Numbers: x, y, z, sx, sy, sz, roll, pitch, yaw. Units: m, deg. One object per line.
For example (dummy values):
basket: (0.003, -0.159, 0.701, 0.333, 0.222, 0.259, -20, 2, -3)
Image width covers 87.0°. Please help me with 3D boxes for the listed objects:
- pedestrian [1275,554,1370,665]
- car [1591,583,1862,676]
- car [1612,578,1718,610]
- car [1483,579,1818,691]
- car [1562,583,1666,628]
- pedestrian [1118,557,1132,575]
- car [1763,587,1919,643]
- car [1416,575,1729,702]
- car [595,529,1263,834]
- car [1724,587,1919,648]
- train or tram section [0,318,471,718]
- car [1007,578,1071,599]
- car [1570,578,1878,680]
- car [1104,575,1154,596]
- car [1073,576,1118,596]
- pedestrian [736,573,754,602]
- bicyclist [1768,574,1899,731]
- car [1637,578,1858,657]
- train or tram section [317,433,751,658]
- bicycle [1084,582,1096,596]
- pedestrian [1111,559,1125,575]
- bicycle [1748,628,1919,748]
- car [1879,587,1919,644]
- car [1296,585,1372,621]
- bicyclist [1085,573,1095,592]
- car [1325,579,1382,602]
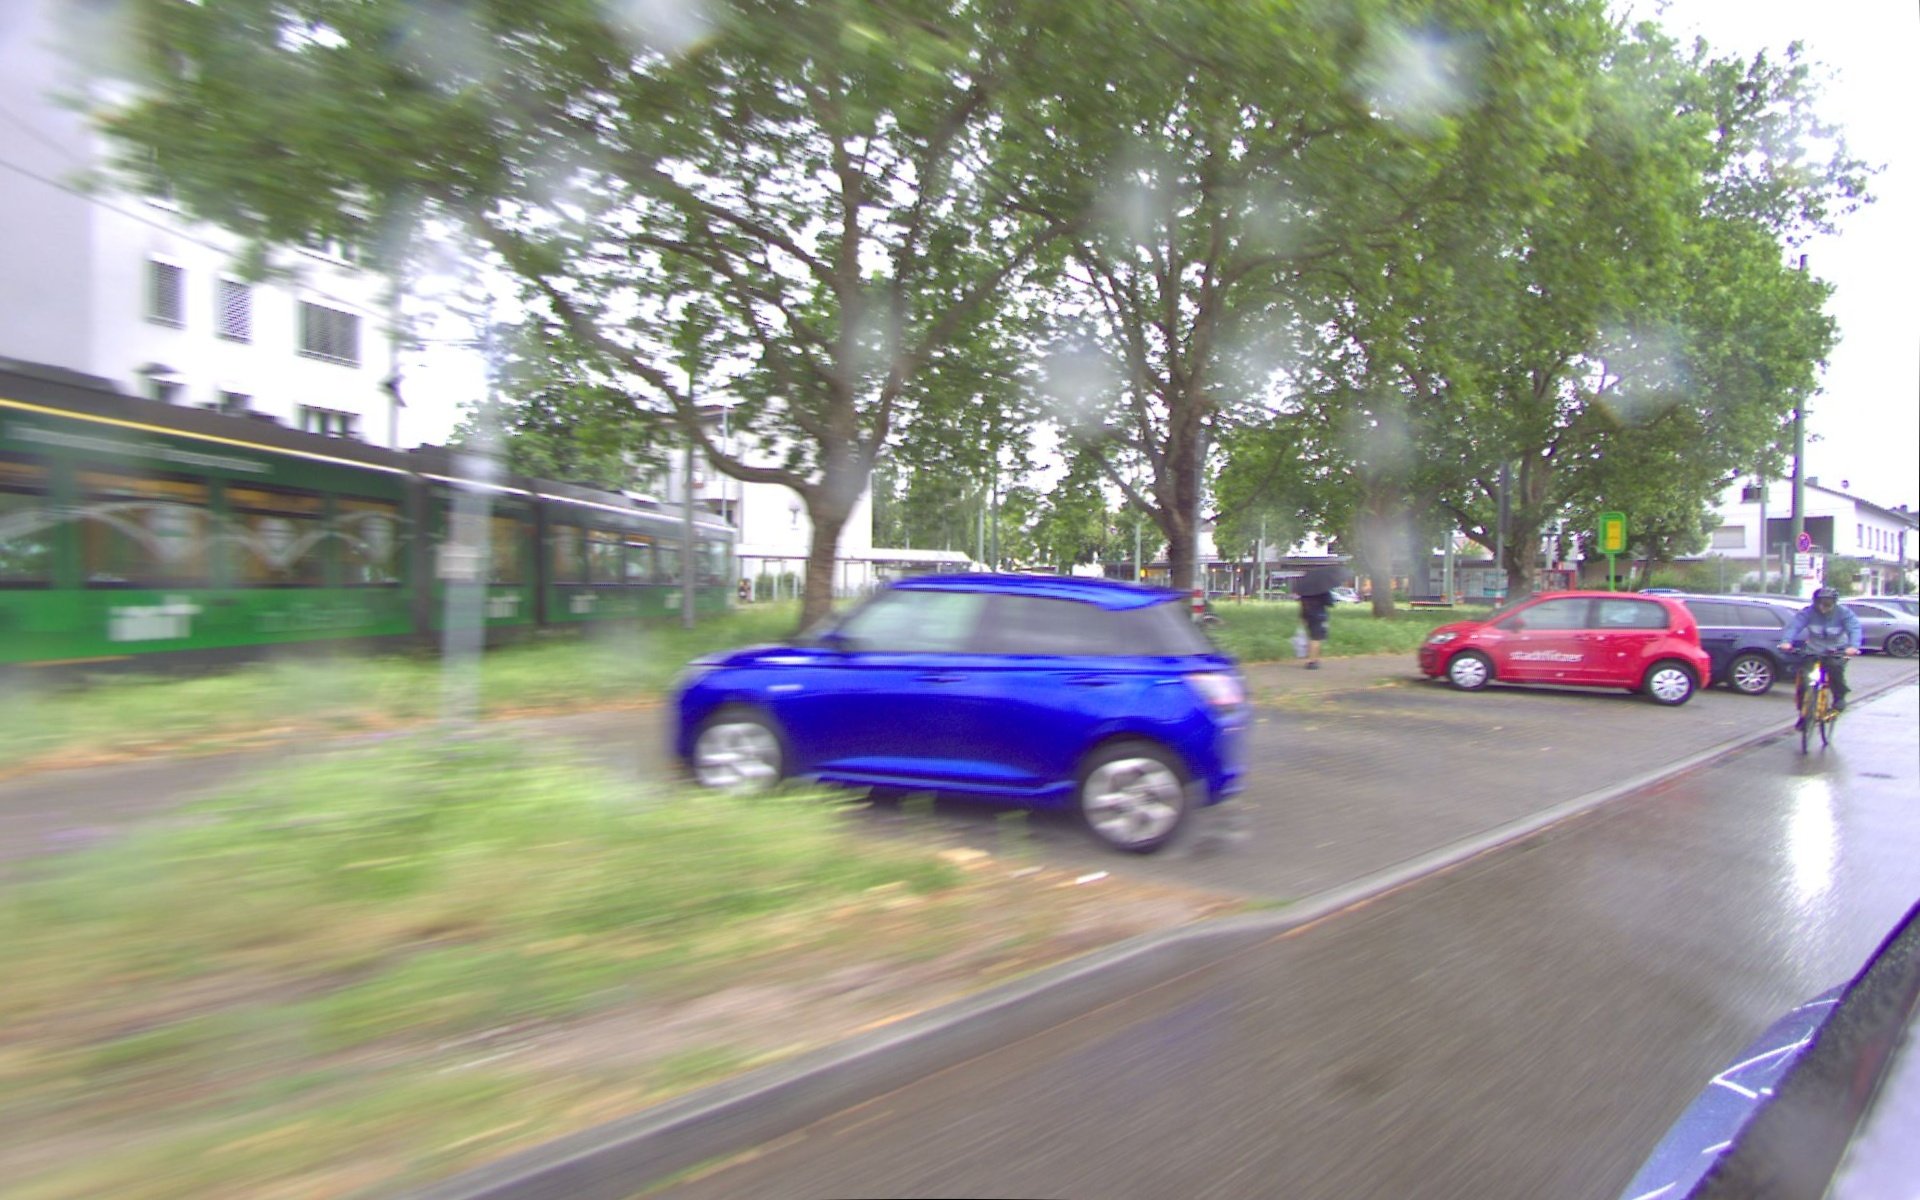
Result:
pedestrian: (5.919, 0.134, 16.545, 1.061, 1.735, 1.047, 0, 2, -41)
car: (15.603, 0.552, 20.827, 3.936, 1.518, 1.820, 4, 3, 10)
car: (39.943, -0.376, 57.410, 1.963, 1.625, 4.571, -3, 3, -37)
car: (11.027, 0.490, 16.538, 4.068, 1.498, 1.856, 3, 2, 18)
car: (32.769, 0.239, 50.805, 1.965, 2.038, 3.997, -3, 3, -39)
pedestrian: (16.859, -3.481, 103.405, 1.058, 1.735, 0.949, 0, 1, -29)
car: (25.652, 0.400, 28.694, 4.124, 1.495, 1.793, 1, 1, 20)
car: (8.534, 0.467, 14.487, 3.559, 1.498, 1.625, 3, 2, 24)
car: (-0.097, 0.371, 6.653, 3.947, 1.502, 1.988, 2, 0, 18)
car: (23.290, 0.428, 26.806, 4.494, 1.495, 1.792, 1, 1, 21)
train or tram section: (-10.044, -0.728, 9.275, 2.667, 3.634, 14.716, -1, 1, 6)
car: (5.985, -0.864, 76.290, 4.754, 1.476, 1.998, 2, 0, -39)
car: (13.723, 0.462, 18.442, 3.935, 1.572, 1.957, 2, 3, 10)
car: (14.577, -1.237, 87.125, 4.263, 1.694, 1.997, -2, 2, -41)
car: (11.845, -1.261, 88.527, 3.879, 1.694, 1.791, -2, 2, -41)
pedestrian: (-11.823, -0.703, 55.589, 0.625, 1.592, 0.788, -2, 2, -40)
bicyclist: (8.836, 0.503, 10.246, 0.829, 1.504, 0.754, 2, 0, -30)
car: (17.794, 0.350, 23.053, 3.465, 1.524, 1.748, 3, 3, 14)
train or tram section: (-8.526, -1.027, 23.910, 2.667, 3.634, 14.716, -1, 1, 6)
bicycle: (10.314, -0.878, 80.315, 0.715, 1.144, 1.754, -1, 1, 0)
pedestrian: (16.283, -3.438, 104.559, 1.058, 1.603, 0.949, 0, 1, -29)
bicycle: (8.926, 0.853, 10.309, 1.888, 1.086, 0.756, 1, 0, -30)
car: (37.945, 0.629, 38.881, 1.966, 2.037, 3.995, -2, 4, 8)
car: (23.220, 0.145, 62.862, 1.965, 2.038, 3.997, -3, 3, -39)
bicyclist: (10.312, -1.392, 80.396, 0.711, 1.535, 0.699, -1, 0, 0)
car: (28.210, -0.704, 72.623, 3.597, 1.522, 1.534, 1, 3, 34)
